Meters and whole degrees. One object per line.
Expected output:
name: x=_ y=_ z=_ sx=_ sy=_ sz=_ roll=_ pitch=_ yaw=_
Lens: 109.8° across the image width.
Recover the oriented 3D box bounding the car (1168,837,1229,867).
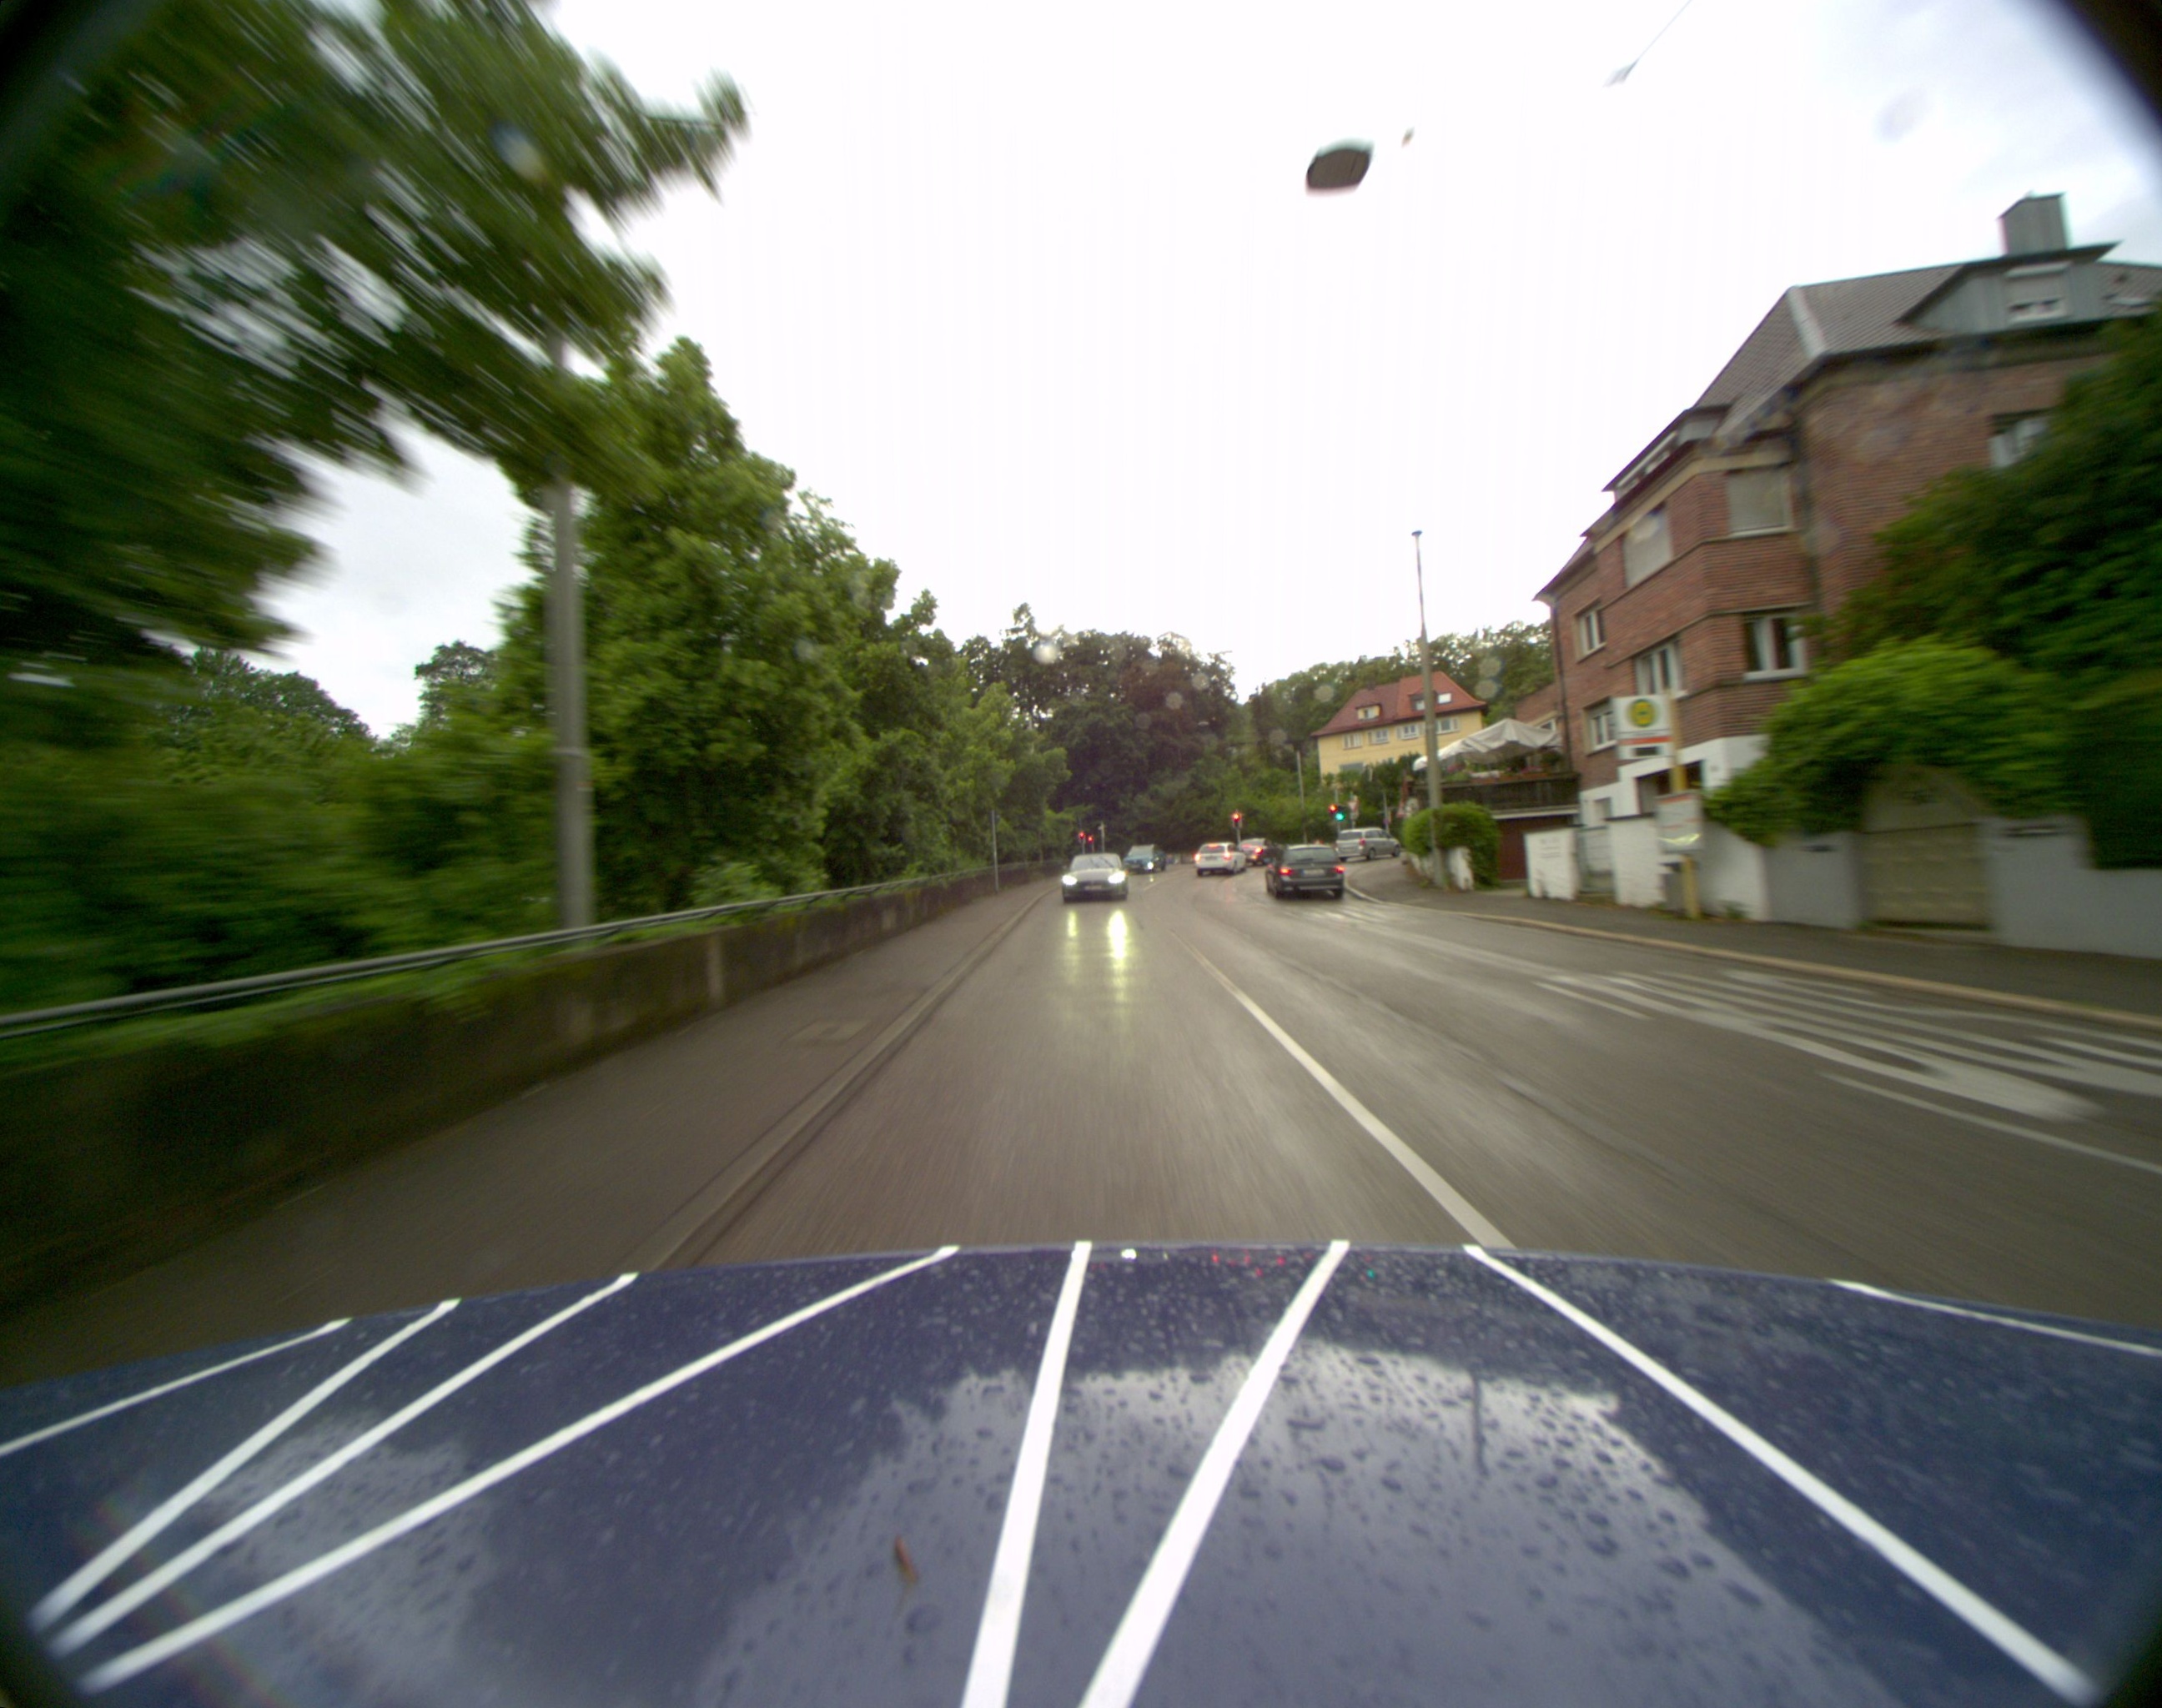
car: x=8.859 y=-0.117 z=57.154 sx=4.006 sy=1.999 sz=1.998 roll=0 pitch=-8 yaw=-28

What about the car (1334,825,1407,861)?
car: x=15.054 y=-0.600 z=39.442 sx=4.467 sy=1.576 sz=1.712 roll=-5 pitch=1 yaw=-44

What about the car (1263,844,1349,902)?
car: x=6.380 y=0.466 z=22.001 sx=1.740 sy=1.442 sz=4.618 roll=-2 pitch=1 yaw=9

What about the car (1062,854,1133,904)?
car: x=0.422 y=0.716 z=24.232 sx=1.836 sy=1.384 sz=4.322 roll=-2 pitch=0 yaw=-4

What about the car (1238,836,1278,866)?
car: x=9.903 y=-0.181 z=42.371 sx=1.861 sy=1.387 sz=4.600 roll=-3 pitch=2 yaw=16

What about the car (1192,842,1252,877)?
car: x=6.737 y=0.224 z=35.953 sx=1.849 sy=1.466 sz=4.447 roll=-1 pitch=1 yaw=23

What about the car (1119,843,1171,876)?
car: x=3.681 y=0.338 z=42.962 sx=1.798 sy=1.599 sz=4.049 roll=-5 pitch=-4 yaw=20
